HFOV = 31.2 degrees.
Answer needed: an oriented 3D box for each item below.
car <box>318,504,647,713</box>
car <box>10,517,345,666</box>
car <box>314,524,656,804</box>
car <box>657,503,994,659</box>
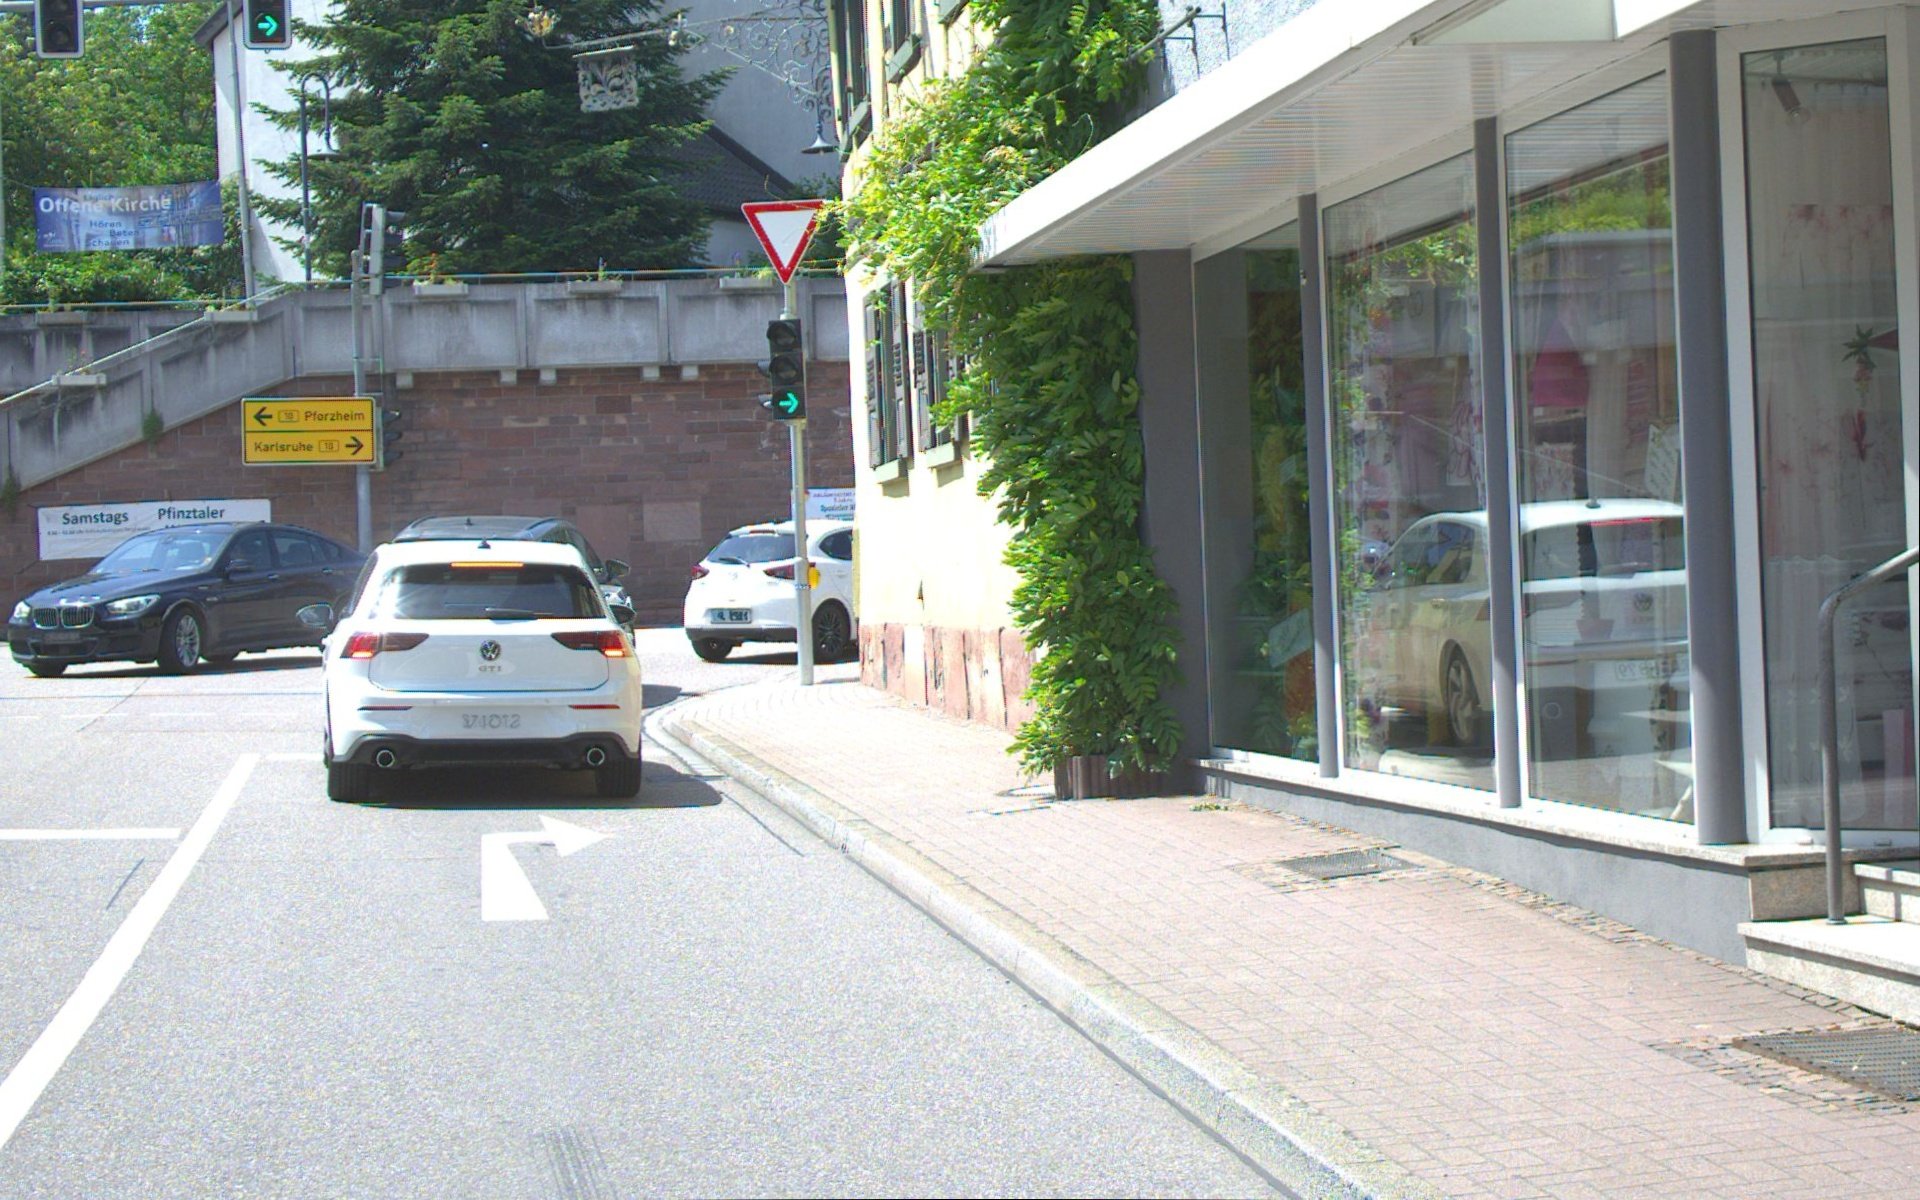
[{"bbox_3d":[-4.097,0.012,30.214,1.949,1.577,4.326,-1,3,4],"label":"car"},{"bbox_3d":[-8.310,-0.139,36.969,1.797,1.482,4.795,0,1,10],"label":"car"},{"bbox_3d":[-2.841,0.316,20.438,1.782,1.453,3.864,-2,1,-8],"label":"car"},{"bbox_3d":[-1.403,-0.250,37.485,1.774,1.491,3.981,1,3,31],"label":"car"}]
